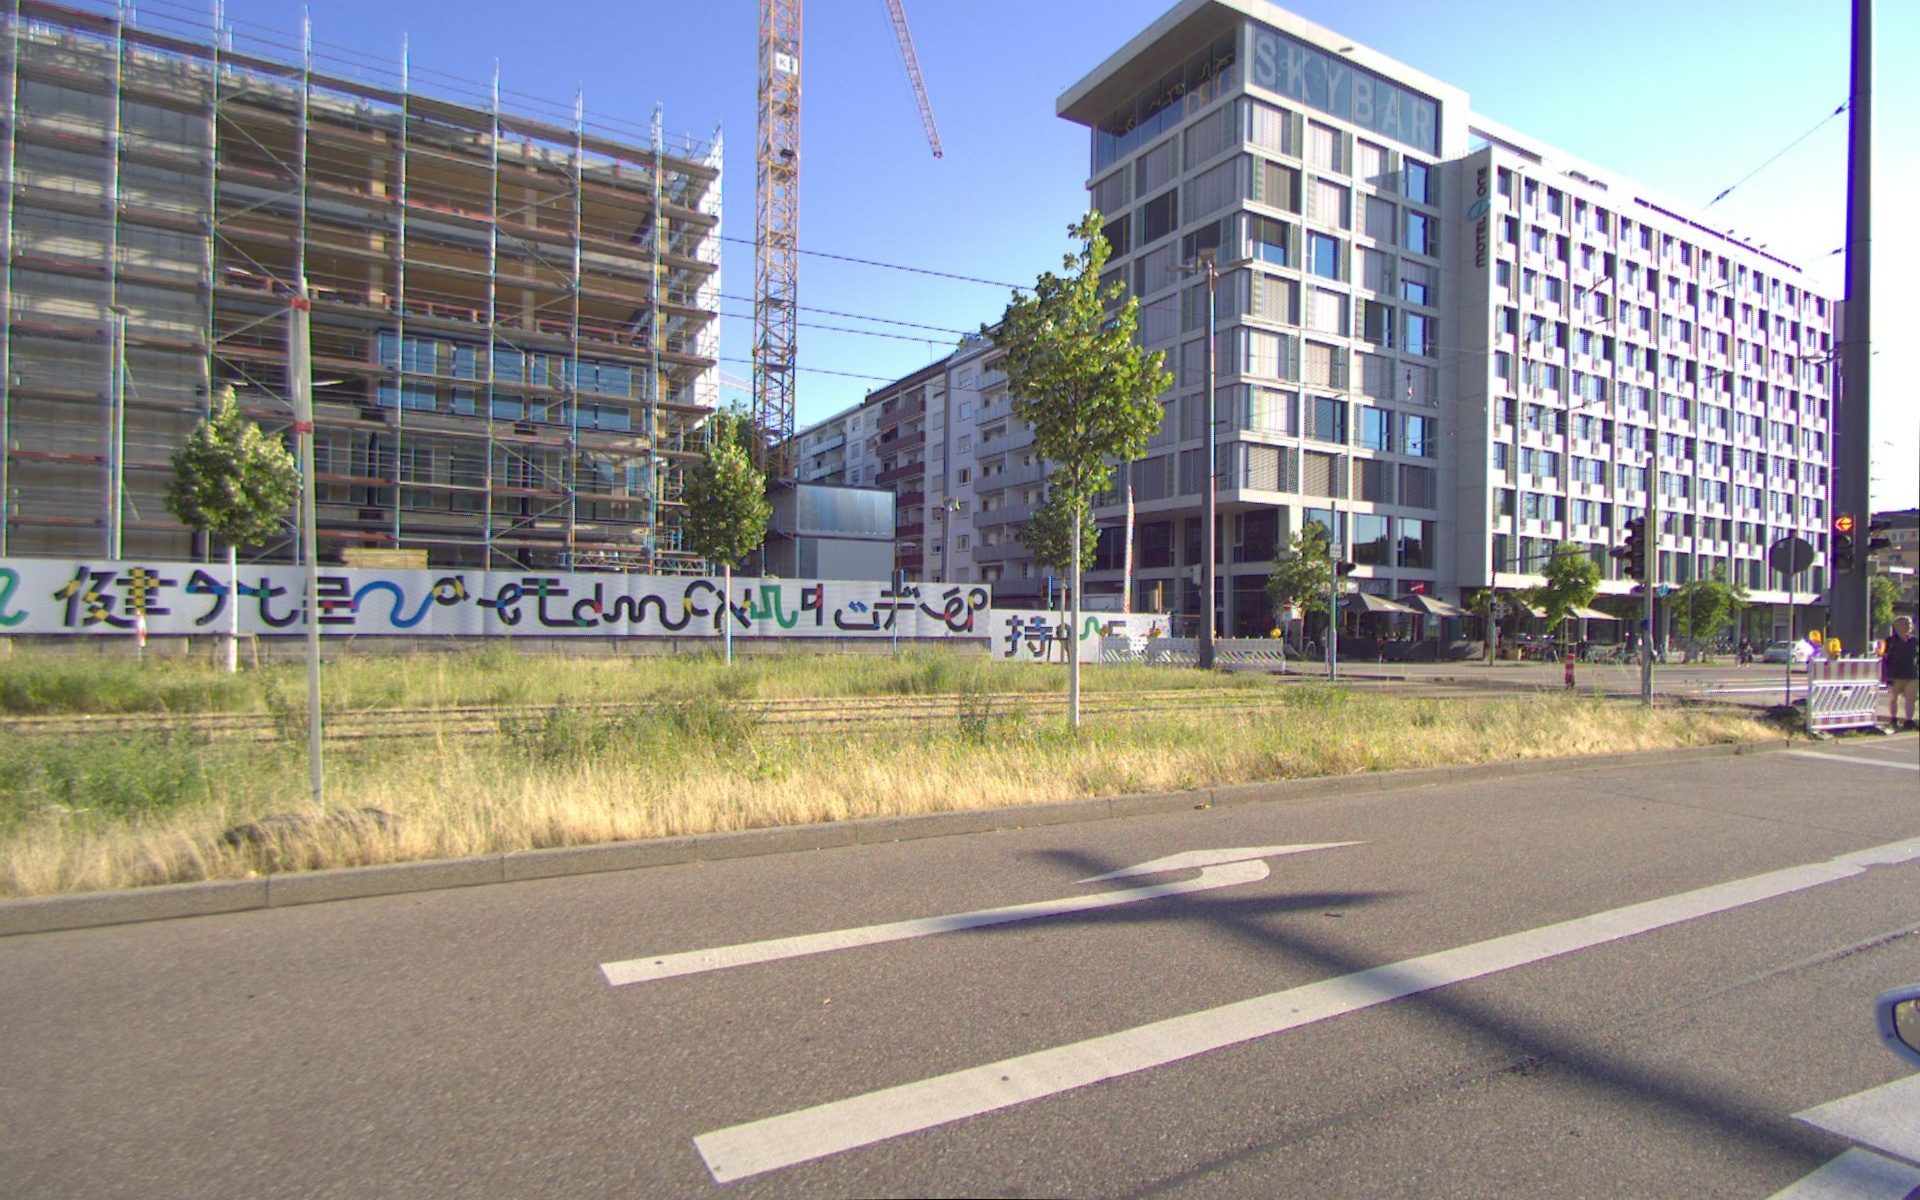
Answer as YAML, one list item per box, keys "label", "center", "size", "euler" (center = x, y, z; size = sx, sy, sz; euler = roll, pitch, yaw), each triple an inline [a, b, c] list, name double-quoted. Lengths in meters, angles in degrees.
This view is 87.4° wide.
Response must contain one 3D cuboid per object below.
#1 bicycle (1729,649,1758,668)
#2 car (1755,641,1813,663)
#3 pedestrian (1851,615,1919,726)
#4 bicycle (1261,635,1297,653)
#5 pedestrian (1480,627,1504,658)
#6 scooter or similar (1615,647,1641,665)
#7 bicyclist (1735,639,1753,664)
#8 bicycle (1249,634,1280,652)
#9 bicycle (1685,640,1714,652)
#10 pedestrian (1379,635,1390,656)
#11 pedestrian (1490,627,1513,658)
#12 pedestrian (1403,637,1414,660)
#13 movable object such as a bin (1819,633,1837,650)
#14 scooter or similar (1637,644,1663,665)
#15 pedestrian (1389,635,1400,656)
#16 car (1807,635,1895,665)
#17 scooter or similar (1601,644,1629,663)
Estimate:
- label: "bicycle"
  center: [47.227, 3.519, 60.539]
  size: [2.053, 1.081, 0.622]
  euler: [2, -1, -30]
- label: "car"
  center: [56.078, 3.512, 68.343]
  size: [3.953, 1.346, 1.748]
  euler: [2, 0, -30]
- label: "pedestrian"
  center: [14.691, 1.075, 15.664]
  size: [0.752, 1.671, 0.925]
  euler: [1, -1, -12]
- label: "bicycle"
  center: [17.482, 2.417, 55.017]
  size: [2.191, 0.948, 0.615]
  euler: [2, -1, -31]
- label: "pedestrian"
  center: [30.543, 2.433, 57.680]
  size: [0.791, 1.744, 0.868]
  euler: [1, -1, -20]
- label: "scooter or similar"
  center: [38.874, 3.240, 58.452]
  size: [0.429, 1.033, 1.238]
  euler: [1, -1, -28]
- label: "bicyclist"
  center: [47.254, 3.124, 60.544]
  size: [0.841, 1.484, 0.622]
  euler: [1, -1, -29]
- label: "bicycle"
  center: [16.920, 2.401, 55.778]
  size: [1.879, 0.948, 0.533]
  euler: [2, -1, -31]
- label: "bicycle"
  center: [57.181, 3.556, 77.673]
  size: [0.507, 0.917, 1.792]
  euler: [2, -1, -35]
- label: "pedestrian"
  center: [25.218, 2.723, 59.668]
  size: [0.491, 1.238, 0.429]
  euler: [1, -1, -30]
- label: "pedestrian"
  center: [31.256, 2.453, 58.012]
  size: [0.791, 1.744, 0.868]
  euler: [1, -1, -20]
- label: "pedestrian"
  center: [24.096, 2.622, 54.008]
  size: [0.428, 1.209, 0.362]
  euler: [1, -1, -33]
- label: "movable object such as a bin"
  center: [77.282, 3.712, 89.417]
  size: [1.386, 1.459, 0.796]
  euler: [1, -1, -30]
- label: "scooter or similar"
  center: [40.715, 3.209, 59.299]
  size: [0.401, 1.187, 1.238]
  euler: [1, -1, -28]
- label: "pedestrian"
  center: [26.003, 2.745, 60.123]
  size: [0.491, 1.238, 0.429]
  euler: [1, -1, -30]
- label: "car"
  center: [43.278, 2.411, 48.757]
  size: [4.794, 1.361, 1.882]
  euler: [2, -1, -31]
- label: "scooter or similar"
  center: [37.609, 3.066, 57.669]
  size: [0.504, 1.033, 1.238]
  euler: [1, -1, -29]
